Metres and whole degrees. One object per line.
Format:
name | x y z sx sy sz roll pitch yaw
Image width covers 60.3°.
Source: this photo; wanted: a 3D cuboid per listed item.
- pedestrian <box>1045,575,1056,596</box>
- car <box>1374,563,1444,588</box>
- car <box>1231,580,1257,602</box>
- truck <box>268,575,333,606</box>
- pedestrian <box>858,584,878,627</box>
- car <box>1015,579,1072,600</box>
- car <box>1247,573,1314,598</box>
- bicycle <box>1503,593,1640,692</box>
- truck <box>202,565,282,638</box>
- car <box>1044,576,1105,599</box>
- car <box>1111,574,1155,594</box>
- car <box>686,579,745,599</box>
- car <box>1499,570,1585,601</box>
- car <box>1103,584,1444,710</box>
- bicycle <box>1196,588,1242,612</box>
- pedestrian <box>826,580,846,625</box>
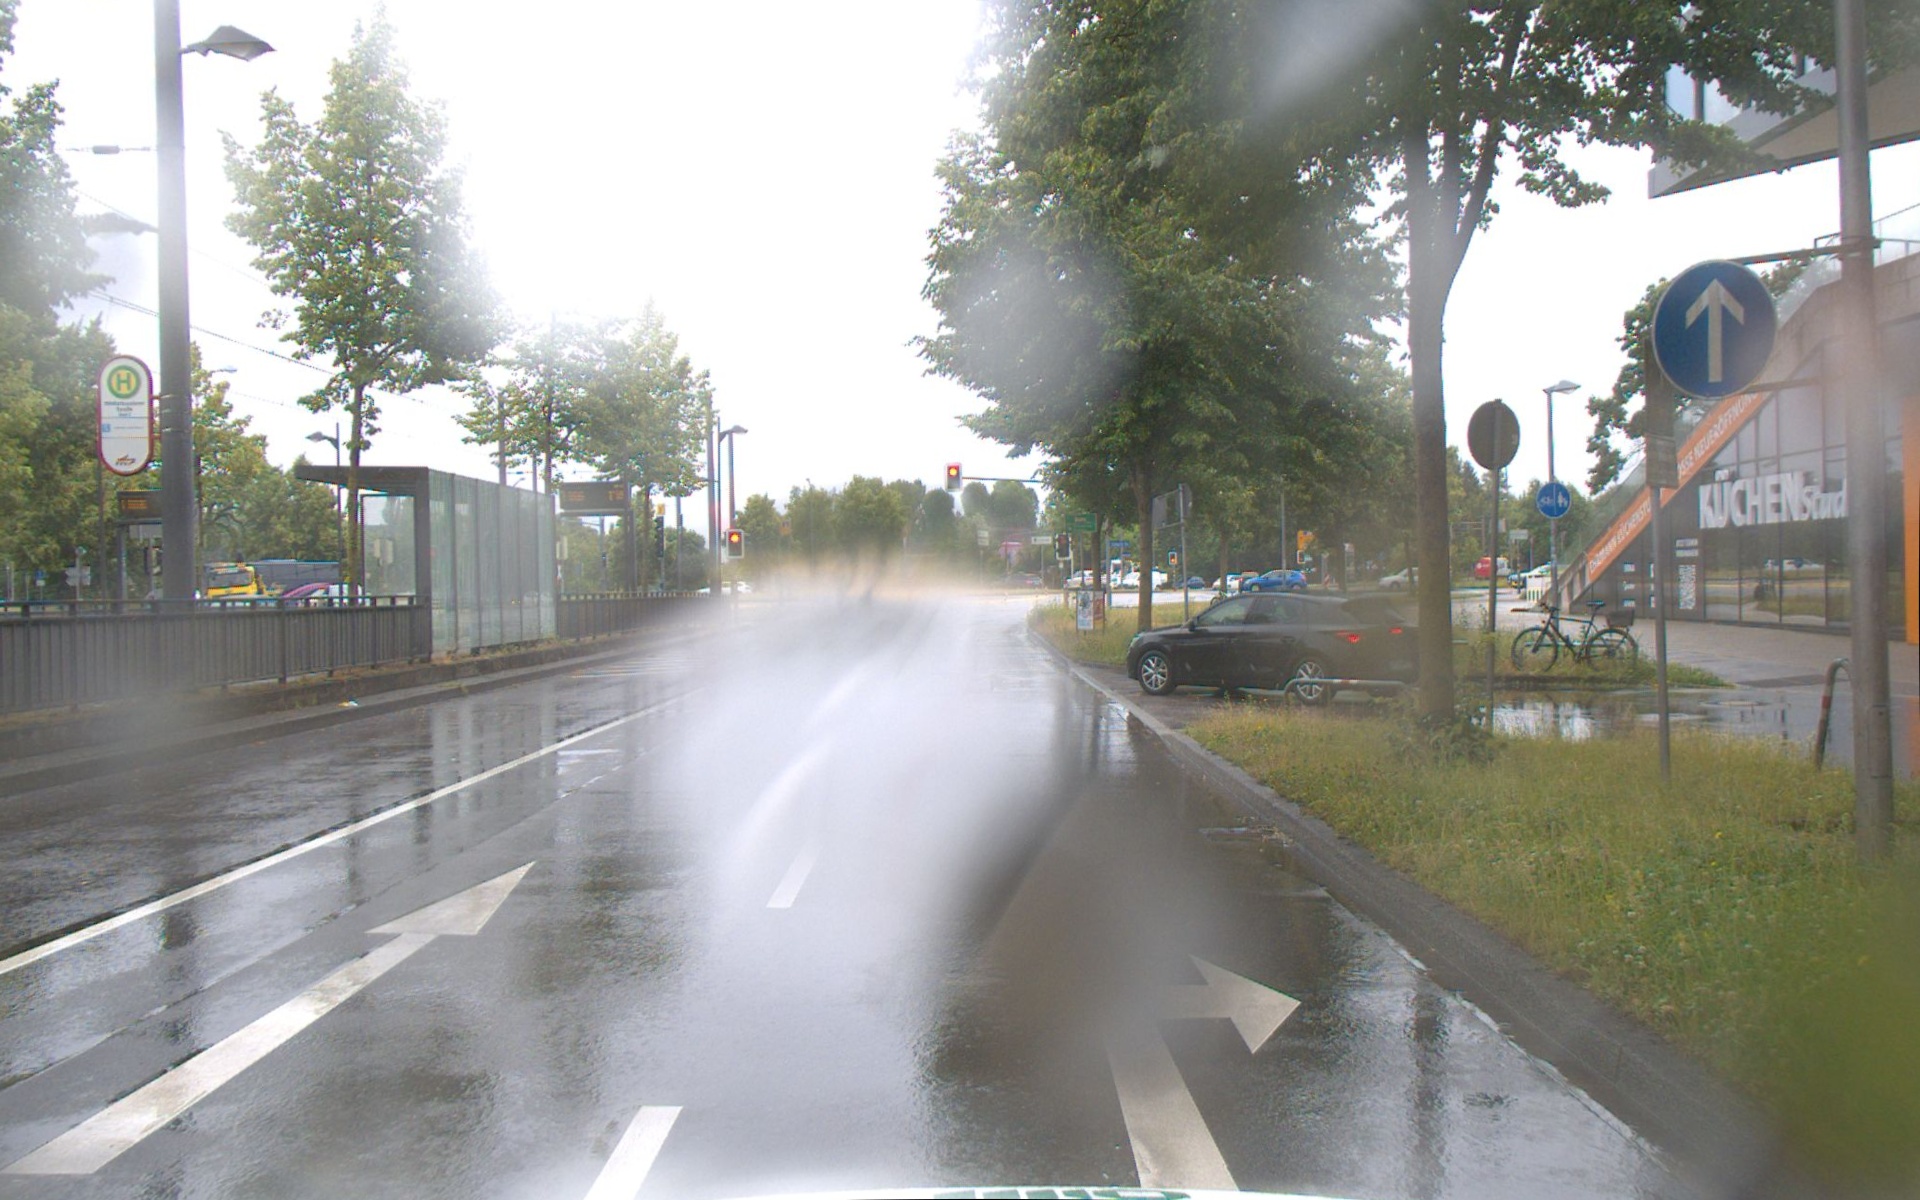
pedestrian | 5.766 -0.949 105.387 0.445 1.327 0.483 0 1 40
car | 27.846 -1.505 102.604 3.893 1.479 1.623 -1 1 -1
car | 20.467 -0.660 118.998 1.583 1.479 3.991 -1 1 13
truck | -45.894 -0.662 115.100 1.795 2.049 3.996 1 0 27
pedestrian | -3.240 0.187 58.135 0.666 1.486 0.573 -2 0 -3
car | 5.928 -0.756 117.540 3.914 1.479 1.615 0 1 41
car | 20.035 -0.933 103.448 3.892 1.479 1.624 -1 1 1
bicycle | 8.808 0.593 23.837 1.806 1.370 0.532 0 2 26
truck | -40.415 0.058 93.381 2.642 3.844 9.147 1 0 -14
car | 7.786 -0.856 112.507 4.041 1.479 1.613 0 1 43
car | 15.411 -1.411 147.112 1.770 1.691 4.109 1 0 42
car | -19.119 -0.850 129.445 4.524 1.479 1.619 -1 1 -10
car | 36.132 -0.905 102.751 4.668 1.883 1.998 -1 1 -6
car | 4.084 0.541 22.069 1.817 1.444 4.281 -2 2 -41
bicycle | 8.690 -0.004 55.571 0.375 0.800 1.839 1 0 -32
pedestrian | -4.259 0.080 56.911 0.608 1.549 0.741 1 0 0
